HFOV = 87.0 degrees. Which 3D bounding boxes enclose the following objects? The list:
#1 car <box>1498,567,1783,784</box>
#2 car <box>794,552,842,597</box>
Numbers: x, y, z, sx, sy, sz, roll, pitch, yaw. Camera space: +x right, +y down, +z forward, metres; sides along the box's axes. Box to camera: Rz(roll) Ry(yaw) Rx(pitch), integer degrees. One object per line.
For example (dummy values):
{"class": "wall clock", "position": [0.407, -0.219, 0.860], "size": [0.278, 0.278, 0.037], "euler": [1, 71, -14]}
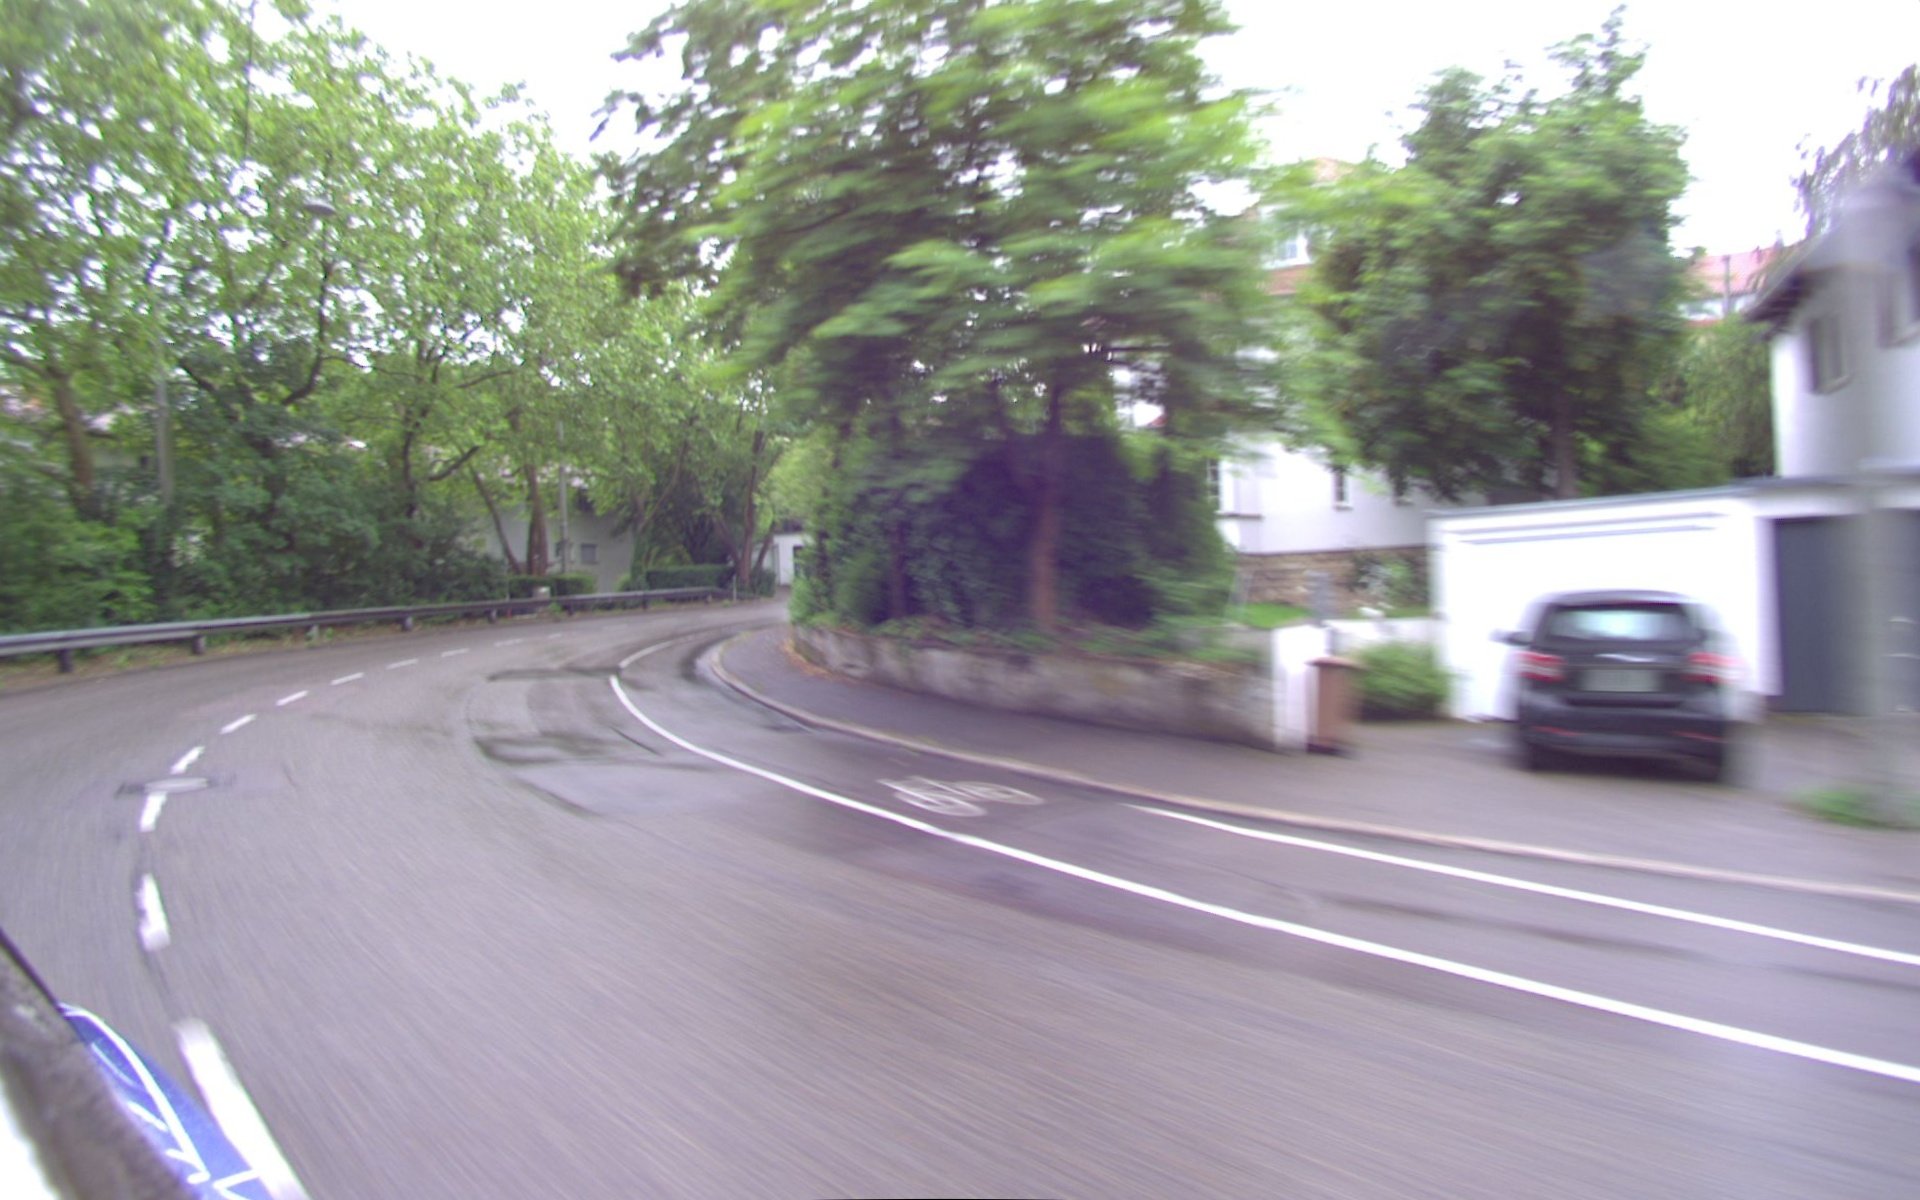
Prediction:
{"class": "car", "position": [6.154, 0.536, 9.540], "size": [1.814, 1.531, 3.318], "euler": [-1, 3, 27]}
{"class": "car", "position": [-7.891, -1.444, 55.974], "size": [1.925, 1.937, 4.283], "euler": [-3, 8, -16]}
